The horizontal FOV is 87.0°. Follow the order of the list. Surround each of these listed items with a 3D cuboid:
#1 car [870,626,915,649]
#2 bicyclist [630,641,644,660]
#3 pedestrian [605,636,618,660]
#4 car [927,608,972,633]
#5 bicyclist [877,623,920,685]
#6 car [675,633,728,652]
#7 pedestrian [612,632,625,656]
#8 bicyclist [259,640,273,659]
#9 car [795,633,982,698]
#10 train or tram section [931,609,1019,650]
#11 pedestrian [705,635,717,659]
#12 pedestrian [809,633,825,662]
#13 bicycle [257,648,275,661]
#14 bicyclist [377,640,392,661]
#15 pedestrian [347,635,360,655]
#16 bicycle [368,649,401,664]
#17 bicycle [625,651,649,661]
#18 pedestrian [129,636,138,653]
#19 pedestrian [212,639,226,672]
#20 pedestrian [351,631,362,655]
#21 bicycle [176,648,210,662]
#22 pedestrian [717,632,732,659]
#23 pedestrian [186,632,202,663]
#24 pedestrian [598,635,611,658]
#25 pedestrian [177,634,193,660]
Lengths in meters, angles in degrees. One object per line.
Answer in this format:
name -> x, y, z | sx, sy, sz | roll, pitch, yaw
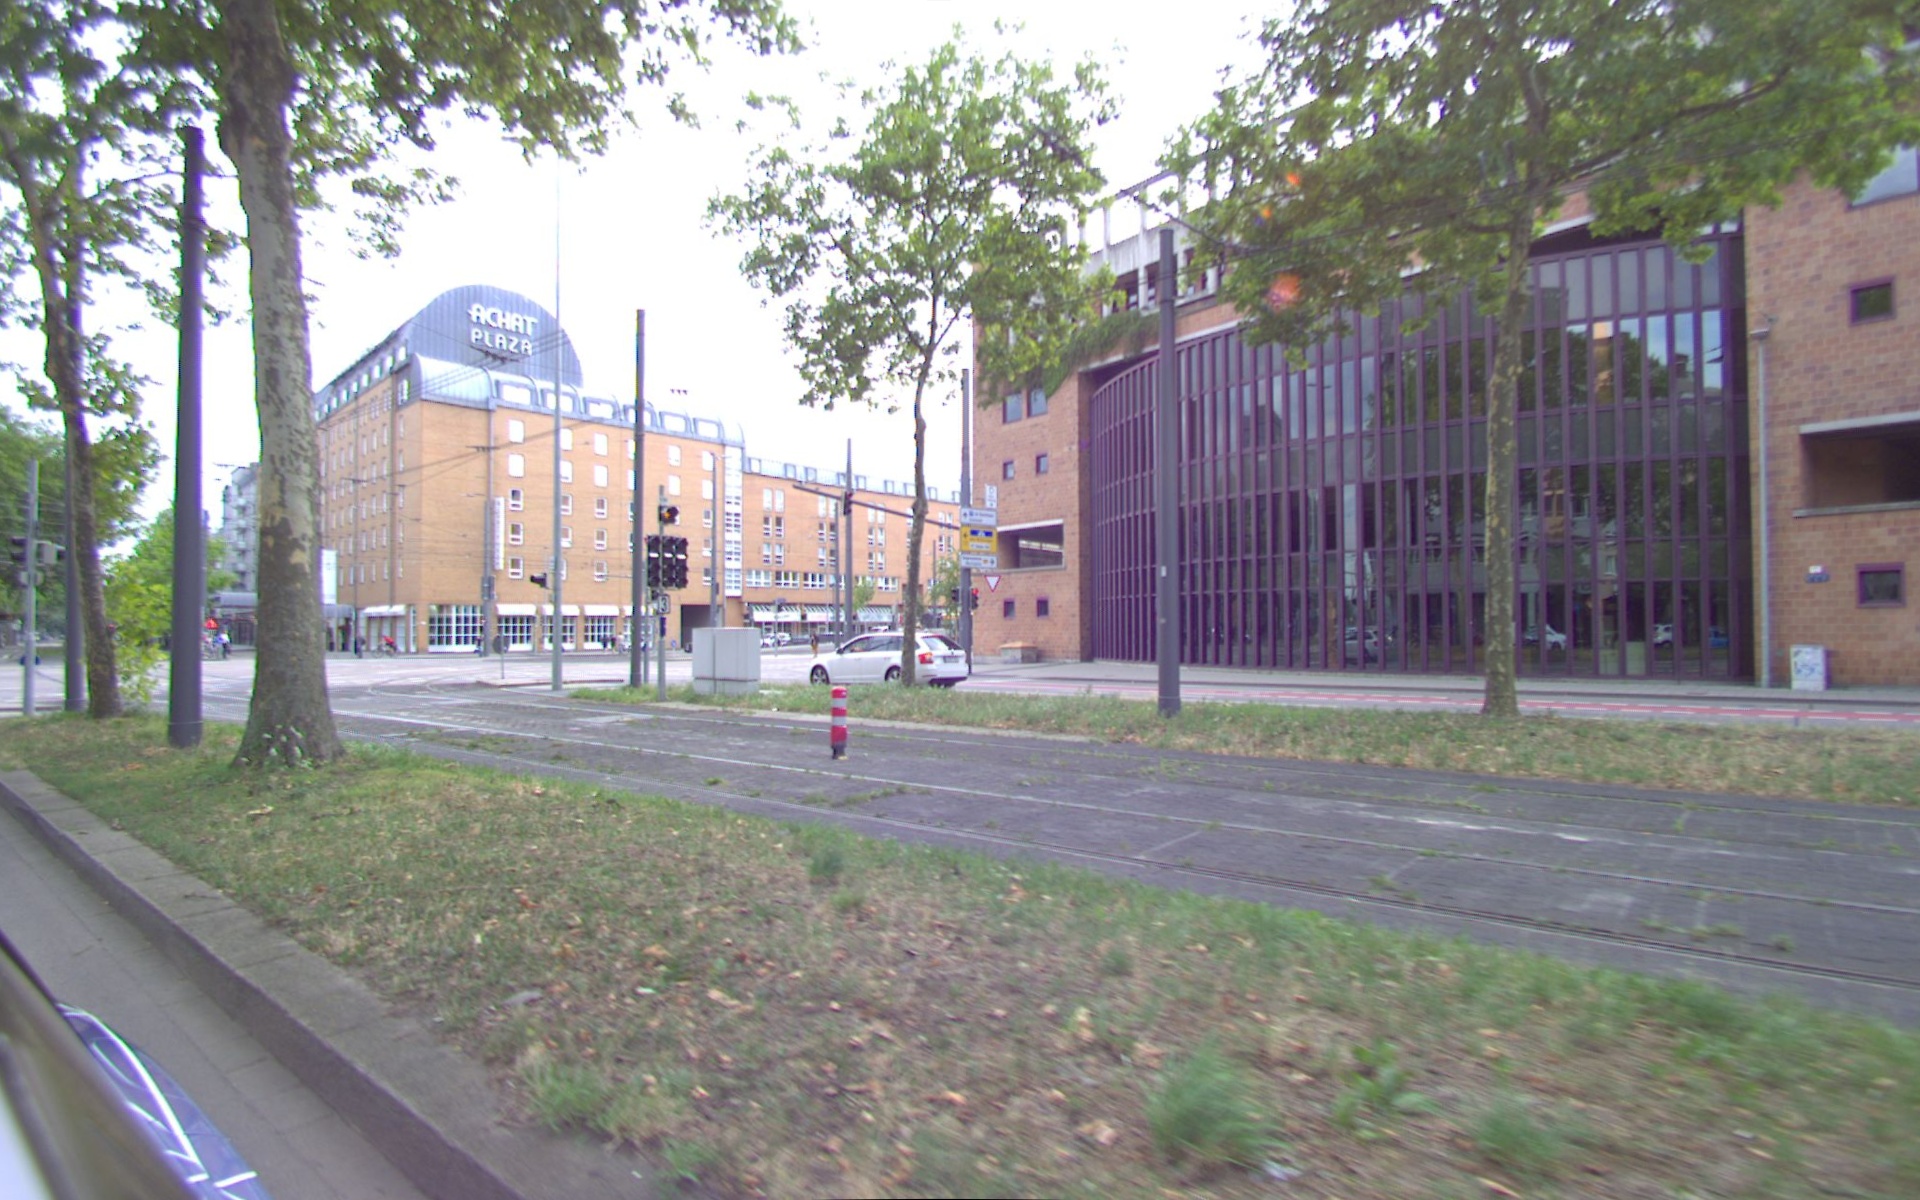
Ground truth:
car -> -6.714, 3.693, 101.095 | 1.700, 2.247, 4.773 | -1, -2, 38
bicyclist -> -26.077, 4.064, 81.582 | 0.636, 1.513, 0.854 | -1, -2, 39
pedestrian -> -25.914, 3.564, 75.295 | 0.749, 1.745, 0.571 | -1, -2, 35
car -> -1.049, 2.061, 100.483 | 1.700, 2.337, 5.019 | -2, -3, 38
bicyclist -> -1.655, 1.434, 27.071 | 0.901, 1.622, 0.715 | -2, -3, 40
car -> -21.058, 3.459, 82.642 | 1.798, 1.490, 3.948 | -2, -3, 38
pedestrian -> -25.644, 3.308, 75.973 | 0.749, 1.745, 0.571 | -1, -2, 35
bicyclist -> -55.038, 3.909, 80.268 | 0.816, 1.513, 0.643 | -1, -2, 37
car -> -1.826, 1.532, 24.647 | 4.654, 1.432, 1.765 | -2, -3, 40
train or tram section -> 1.422, 2.671, 90.270 | 2.574, 3.477, 9.482 | -2, -3, 39
pedestrian -> -18.089, 3.399, 73.517 | 0.576, 1.745, 0.625 | -1, -2, 30
pedestrian -> -8.731, 2.908, 61.724 | 0.750, 1.745, 0.571 | -1, -2, 39
bicycle -> -55.042, 4.317, 80.253 | 1.890, 0.943, 0.651 | -1, -2, 37
bicyclist -> -41.454, 3.641, 72.914 | 0.851, 1.513, 0.638 | 1, -2, -33
pedestrian -> -46.289, 3.396, 77.221 | 0.642, 1.518, 0.534 | 0, -2, 7
bicycle -> -41.449, 4.064, 72.914 | 2.025, 1.016, 0.642 | 1, -2, -33
bicycle -> -26.065, 4.533, 81.598 | 0.639, 0.787, 1.773 | -1, -2, 38
pedestrian -> -83.850, 4.481, 102.698 | 0.639, 1.719, 0.625 | 2, -3, -44
pedestrian -> -48.500, 3.601, 66.268 | 0.533, 2.146, 0.557 | -1, -2, 33
pedestrian -> -43.424, 3.076, 72.827 | 0.534, 1.719, 0.556 | -1, -2, 41
bicycle -> -49.979, 3.573, 65.971 | 0.499, 0.895, 1.688 | -1, -2, 44
pedestrian -> -14.899, 2.866, 63.901 | 0.750, 1.745, 0.571 | -1, -2, 39
pedestrian -> -49.785, 3.066, 65.751 | 0.534, 1.967, 0.684 | -1, -2, 39
pedestrian -> -27.392, 3.581, 77.970 | 0.749, 1.745, 0.571 | -2, -3, 34
pedestrian -> -51.385, 3.091, 67.124 | 0.533, 1.719, 0.677 | -1, -2, 33
